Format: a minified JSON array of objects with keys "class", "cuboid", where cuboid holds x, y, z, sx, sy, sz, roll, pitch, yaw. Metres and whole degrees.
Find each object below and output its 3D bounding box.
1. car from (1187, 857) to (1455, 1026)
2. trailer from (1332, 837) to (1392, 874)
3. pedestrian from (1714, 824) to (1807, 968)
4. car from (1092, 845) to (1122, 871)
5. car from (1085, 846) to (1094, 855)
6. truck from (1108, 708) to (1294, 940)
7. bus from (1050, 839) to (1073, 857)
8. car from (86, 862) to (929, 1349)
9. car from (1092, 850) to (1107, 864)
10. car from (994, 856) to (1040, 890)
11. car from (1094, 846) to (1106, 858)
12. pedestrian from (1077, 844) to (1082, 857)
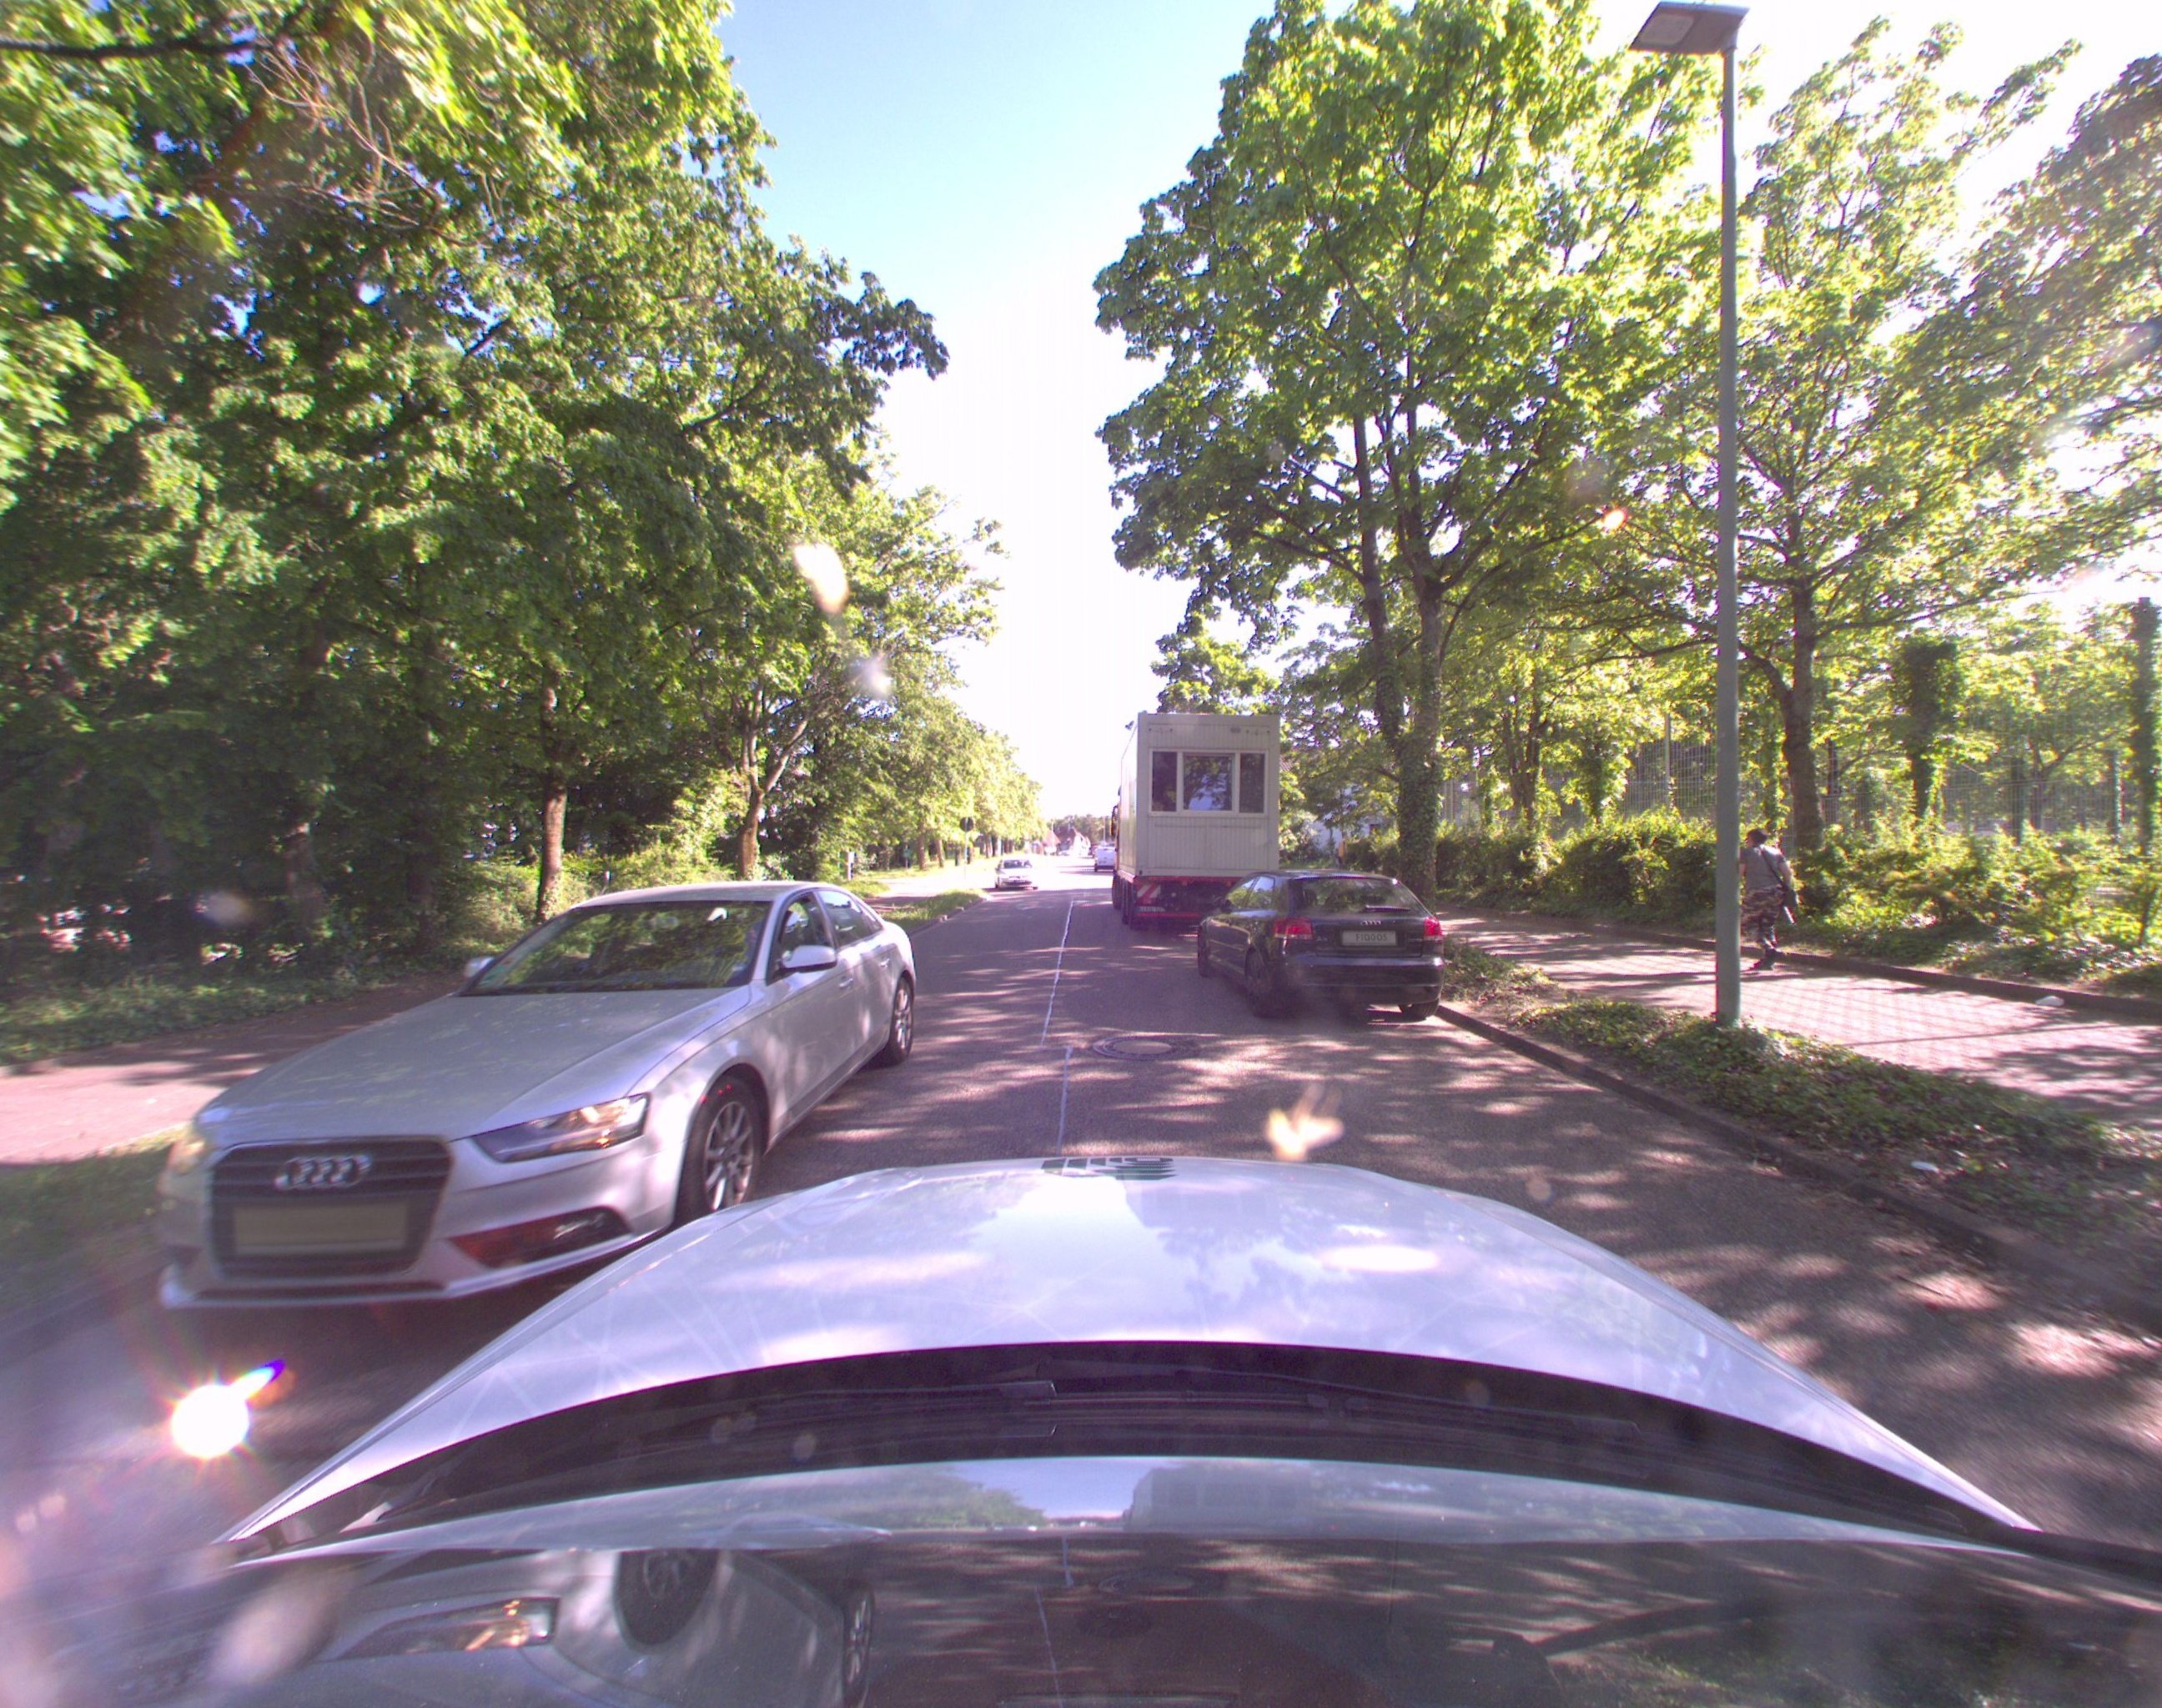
[{"class":"car","cuboid":[2.354,0.764,9.061,1.636,1.420,3.996,0,0,-3]},{"class":"trailer","cuboid":[16.351,0.087,47.505,2.935,2.116,1.609,-1,0,-2]},{"class":"pedestrian","cuboid":[7.844,0.466,9.426,0.568,1.608,0.673,0,0,9]},{"class":"car","cuboid":[1.948,0.295,61.413,1.942,1.843,3.995,0,0,-3]},{"class":"car","cuboid":[1.933,-0.771,183.235,1.776,1.808,3.998,-1,0,-1]},{"class":"truck","cuboid":[2.258,-0.550,19.298,2.764,3.996,10.345,1,0,-1]},{"class":"bus","cuboid":[-3.996,-1.256,168.299,4.049,3.349,9.806,-2,0,2]},{"class":"car","cuboid":[-2.213,0.826,4.649,1.780,1.416,4.106,-2,0,1]},{"class":"car","cuboid":[2.264,0.372,101.405,1.776,1.652,3.998,-1,0,-1]},{"class":"car","cuboid":[-2.998,0.819,37.369,1.804,1.420,3.948,-2,0,-8]},{"class":"car","cuboid":[3.000,-0.346,130.686,1.776,1.808,3.998,-1,0,-1]},{"class":"pedestrian","cuboid":[-0.263,-0.583,129.446,0.749,2.113,0.799,1,0,3]}]
